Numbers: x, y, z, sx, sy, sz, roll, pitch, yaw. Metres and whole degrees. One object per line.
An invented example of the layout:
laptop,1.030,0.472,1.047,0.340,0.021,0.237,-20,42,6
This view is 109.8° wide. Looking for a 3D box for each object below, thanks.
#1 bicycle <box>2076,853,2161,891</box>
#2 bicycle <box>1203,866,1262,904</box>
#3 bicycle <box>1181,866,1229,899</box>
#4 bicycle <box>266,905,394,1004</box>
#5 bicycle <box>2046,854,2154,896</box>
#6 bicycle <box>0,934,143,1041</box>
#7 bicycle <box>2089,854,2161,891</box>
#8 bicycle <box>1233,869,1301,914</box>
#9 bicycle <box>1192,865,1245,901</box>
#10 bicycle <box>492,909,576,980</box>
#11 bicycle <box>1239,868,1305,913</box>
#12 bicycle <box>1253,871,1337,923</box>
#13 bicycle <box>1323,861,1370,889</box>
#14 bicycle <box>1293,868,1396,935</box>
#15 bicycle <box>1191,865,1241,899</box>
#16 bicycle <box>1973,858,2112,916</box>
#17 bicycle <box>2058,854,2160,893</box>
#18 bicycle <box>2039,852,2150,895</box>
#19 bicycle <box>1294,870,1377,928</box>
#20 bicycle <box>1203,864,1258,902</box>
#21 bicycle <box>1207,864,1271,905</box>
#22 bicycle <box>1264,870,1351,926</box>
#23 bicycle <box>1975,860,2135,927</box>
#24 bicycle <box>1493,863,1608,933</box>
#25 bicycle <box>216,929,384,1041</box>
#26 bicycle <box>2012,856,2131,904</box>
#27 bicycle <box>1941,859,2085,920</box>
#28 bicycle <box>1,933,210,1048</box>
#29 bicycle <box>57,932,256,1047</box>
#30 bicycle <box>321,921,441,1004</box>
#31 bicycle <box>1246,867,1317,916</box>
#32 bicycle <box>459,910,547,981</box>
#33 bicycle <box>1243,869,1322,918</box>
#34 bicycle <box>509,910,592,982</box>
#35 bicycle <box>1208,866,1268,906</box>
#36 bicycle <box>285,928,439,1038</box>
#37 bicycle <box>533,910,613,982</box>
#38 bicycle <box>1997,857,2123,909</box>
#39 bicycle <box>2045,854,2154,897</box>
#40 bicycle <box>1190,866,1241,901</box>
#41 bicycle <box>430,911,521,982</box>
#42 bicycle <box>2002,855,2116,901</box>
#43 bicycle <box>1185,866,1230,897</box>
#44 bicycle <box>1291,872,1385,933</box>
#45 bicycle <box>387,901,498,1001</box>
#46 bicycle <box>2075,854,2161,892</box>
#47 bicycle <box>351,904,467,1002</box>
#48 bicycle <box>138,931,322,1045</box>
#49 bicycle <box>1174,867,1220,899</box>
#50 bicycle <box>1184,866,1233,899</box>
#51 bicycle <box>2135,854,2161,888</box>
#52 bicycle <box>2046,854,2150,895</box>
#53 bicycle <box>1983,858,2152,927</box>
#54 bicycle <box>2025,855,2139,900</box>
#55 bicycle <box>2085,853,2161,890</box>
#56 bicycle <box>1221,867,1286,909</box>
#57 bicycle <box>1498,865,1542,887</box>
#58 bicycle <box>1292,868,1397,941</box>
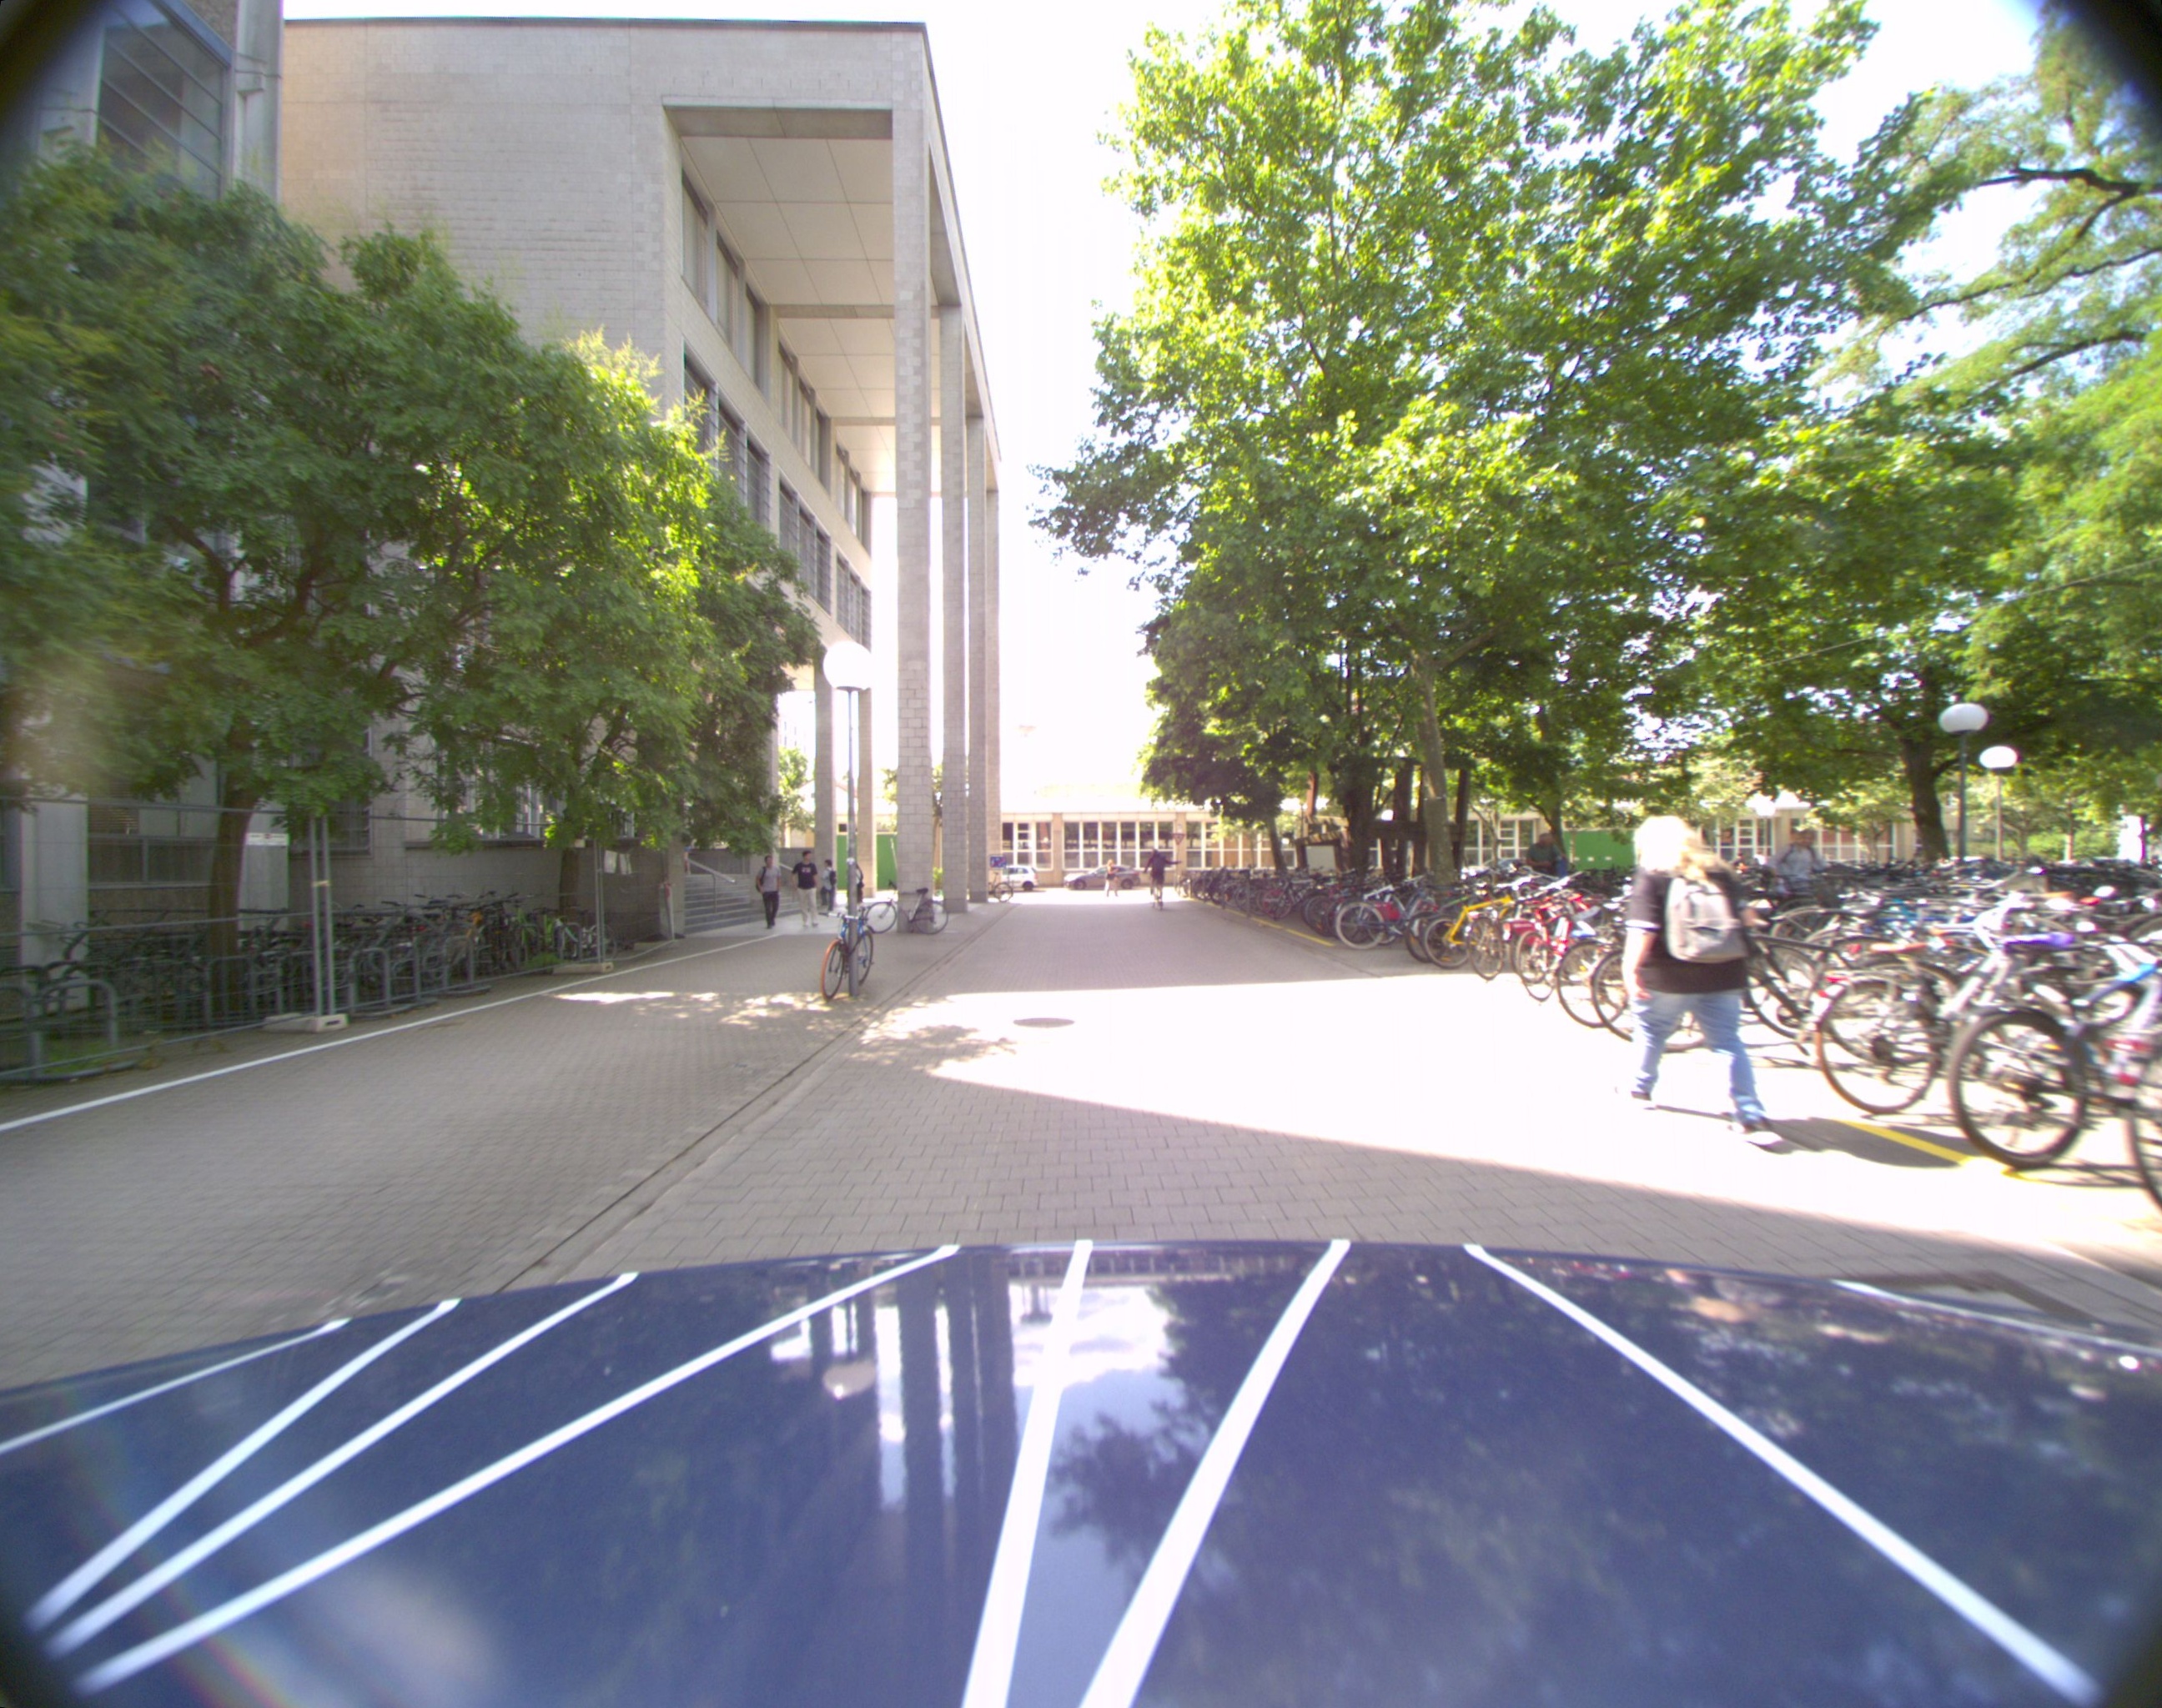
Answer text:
bicycle,31.344,0.538,22.824,0.475,1.077,1.696,-2,0,-29
bicycle,4.670,0.947,23.427,1.629,1.101,0.645,-2,1,-5
bicycle,4.468,1.029,27.380,1.628,1.101,0.497,-2,1,4
bicycle,-9.691,1.260,9.872,0.291,1.092,1.447,-1,0,-4
bicycle,27.775,0.569,20.743,0.475,1.077,1.696,-2,0,-29
bicycle,-10.442,1.327,7.637,0.291,0.900,1.447,-1,0,-4
bicycle,32.353,0.562,23.292,0.475,1.077,1.696,-2,0,-29
bicycle,4.707,0.948,19.297,1.627,1.101,0.497,-2,1,13
bicycle,4.505,0.937,24.978,1.628,1.101,0.691,-2,1,4
bicycle,-8.204,1.335,11.445,0.291,0.900,1.447,-1,0,-4
bicycle,4.978,0.951,19.835,1.627,1.101,0.563,-2,1,13
bicycle,4.826,0.956,17.160,1.739,1.101,0.497,-2,1,0
bicycle,11.019,0.863,31.551,1.839,1.101,0.393,-2,1,-7
bicycle,4.963,0.890,14.345,1.739,1.172,0.497,-2,1,-1
bicycle,4.652,0.970,26.248,1.628,1.101,0.506,-2,1,4
bicycle,19.143,0.645,15.186,0.475,1.077,1.695,-2,1,-39
bicycle,29.478,0.552,21.818,0.475,1.077,1.696,-2,0,-29
bicycle,26.568,0.509,19.948,0.475,1.077,1.696,-2,0,-29
bicycle,5.327,0.928,15.893,1.743,1.101,0.496,-2,1,-24
bicycle,4.765,0.917,24.196,1.628,1.144,0.497,-2,1,0
bicycle,4.723,0.917,22.793,1.785,1.155,0.497,-2,1,-6
bicycle,4.919,0.945,16.541,1.740,1.119,0.497,-2,1,-5
bicycle,16.992,0.667,13.313,0.475,1.077,1.695,-2,1,-39
bicycle,8.633,0.778,14.032,0.577,1.192,1.695,-2,1,-40
bicycle,-7.915,1.290,7.779,0.291,0.900,1.447,-1,0,-4
bicycle,23.616,0.608,18.142,0.475,1.077,1.695,-2,0,-34
bicycle,17.662,0.658,14.448,0.475,1.077,1.695,-2,1,-39
bicycle,-9.698,1.316,7.629,0.291,0.900,1.447,-1,0,-4
bicycle,-9.191,1.303,7.632,0.291,0.900,1.447,-1,0,-4
bicycle,-9.044,1.368,9.881,0.291,0.882,1.447,-1,0,-4
bicycle,4.919,0.924,18.687,1.627,1.137,0.497,-2,1,13
bicycle,-8.666,1.345,11.456,0.291,0.900,1.447,-1,0,-4
bicycle,4.784,0.939,18.033,1.737,1.101,0.575,-2,1,19
bicycle,-7.852,1.331,11.312,0.291,0.900,1.447,-1,0,-4
bicycle,4.601,0.940,22.296,1.629,1.101,0.497,-2,1,-6
bicycle,-7.379,1.285,7.877,0.291,0.900,1.447,-1,0,-4
bicycle,-7.513,1.331,11.306,0.291,0.900,1.447,-1,0,-4
bicycle,21.687,0.627,16.877,0.475,1.077,1.695,-2,1,-39
bicycle,27.256,0.568,20.360,0.475,1.077,1.696,-2,0,-29
bicycle,4.542,1.001,25.700,1.628,1.101,0.497,-2,1,4
bicycle,-9.075,1.358,11.444,0.291,0.900,1.447,-1,0,-4
bicycle,24.479,0.590,19.052,0.475,1.077,1.696,-2,0,-29
bicycle,4.741,1.023,28.430,1.627,1.101,0.497,-1,-2,11
bicycle,5.081,0.944,15.038,1.741,1.101,0.496,-2,1,-13
bicycle,-8.304,1.222,9.948,0.291,1.121,1.447,-1,0,-4
bicycle,30.447,0.545,22.173,0.475,1.077,1.696,-2,0,-29
bicycle,-8.696,1.239,9.892,0.291,1.088,1.447,-1,0,-4
bicycle,-8.515,1.305,7.682,0.291,0.900,1.447,-1,0,-4
bicycle,4.263,1.071,27.949,1.628,1.101,0.497,-2,1,4
bicycle,4.474,1.012,26.817,1.628,1.101,0.629,-2,1,4
bicycle,34.841,0.527,24.028,0.475,1.077,1.696,-2,0,-29
bicycle,28.500,0.561,21.318,0.475,1.077,1.696,-2,0,-29
bicycle,16.426,0.620,12.715,0.475,1.077,1.695,-2,1,-39
bicycle,25.508,0.585,19.392,0.475,1.077,1.696,-2,0,-29
bicycle,31.834,0.535,22.996,0.475,1.077,1.696,-2,0,-29
bicycle,4.816,0.958,21.338,1.724,1.101,0.719,-2,1,10
bicycle,22.087,1.106,38.242,1.829,1.102,0.605,-1,2,1
bicycle,4.771,0.893,13.783,1.740,1.228,0.496,-2,1,-8
